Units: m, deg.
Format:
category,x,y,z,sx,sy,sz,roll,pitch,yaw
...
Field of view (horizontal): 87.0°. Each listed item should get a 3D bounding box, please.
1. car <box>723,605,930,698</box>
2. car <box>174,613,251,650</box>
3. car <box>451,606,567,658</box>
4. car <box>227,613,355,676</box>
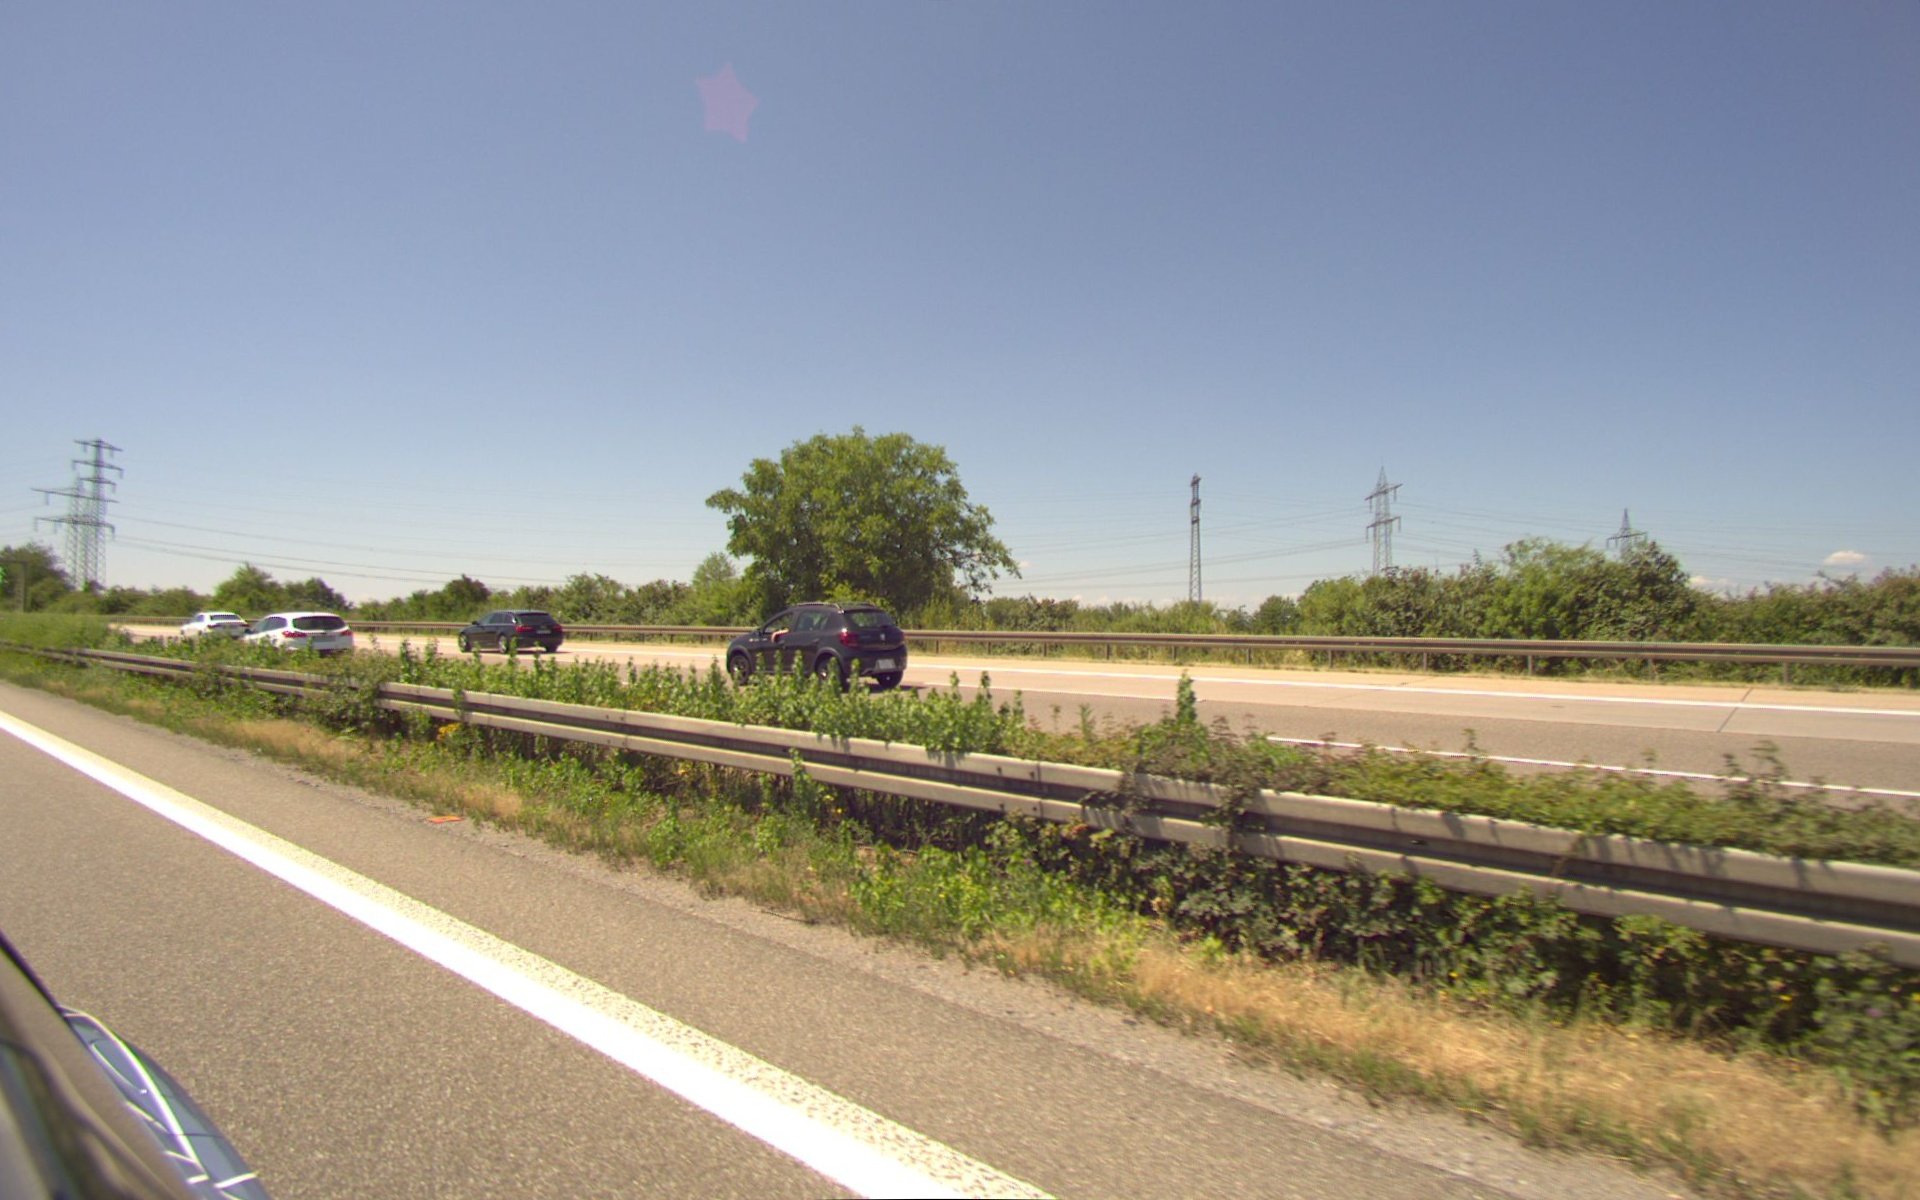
category,x,y,z,sx,sy,sz,roll,pitch,yaw
car,-2.597,0.884,19.106,4.064,1.572,1.627,0,0,41
car,-33.277,1.379,45.022,4.373,1.572,1.685,-1,-1,39
car,-15.461,1.062,34.610,4.653,1.674,1.764,-1,-1,40
car,-17.917,1.132,27.014,4.726,1.501,1.667,0,0,41
